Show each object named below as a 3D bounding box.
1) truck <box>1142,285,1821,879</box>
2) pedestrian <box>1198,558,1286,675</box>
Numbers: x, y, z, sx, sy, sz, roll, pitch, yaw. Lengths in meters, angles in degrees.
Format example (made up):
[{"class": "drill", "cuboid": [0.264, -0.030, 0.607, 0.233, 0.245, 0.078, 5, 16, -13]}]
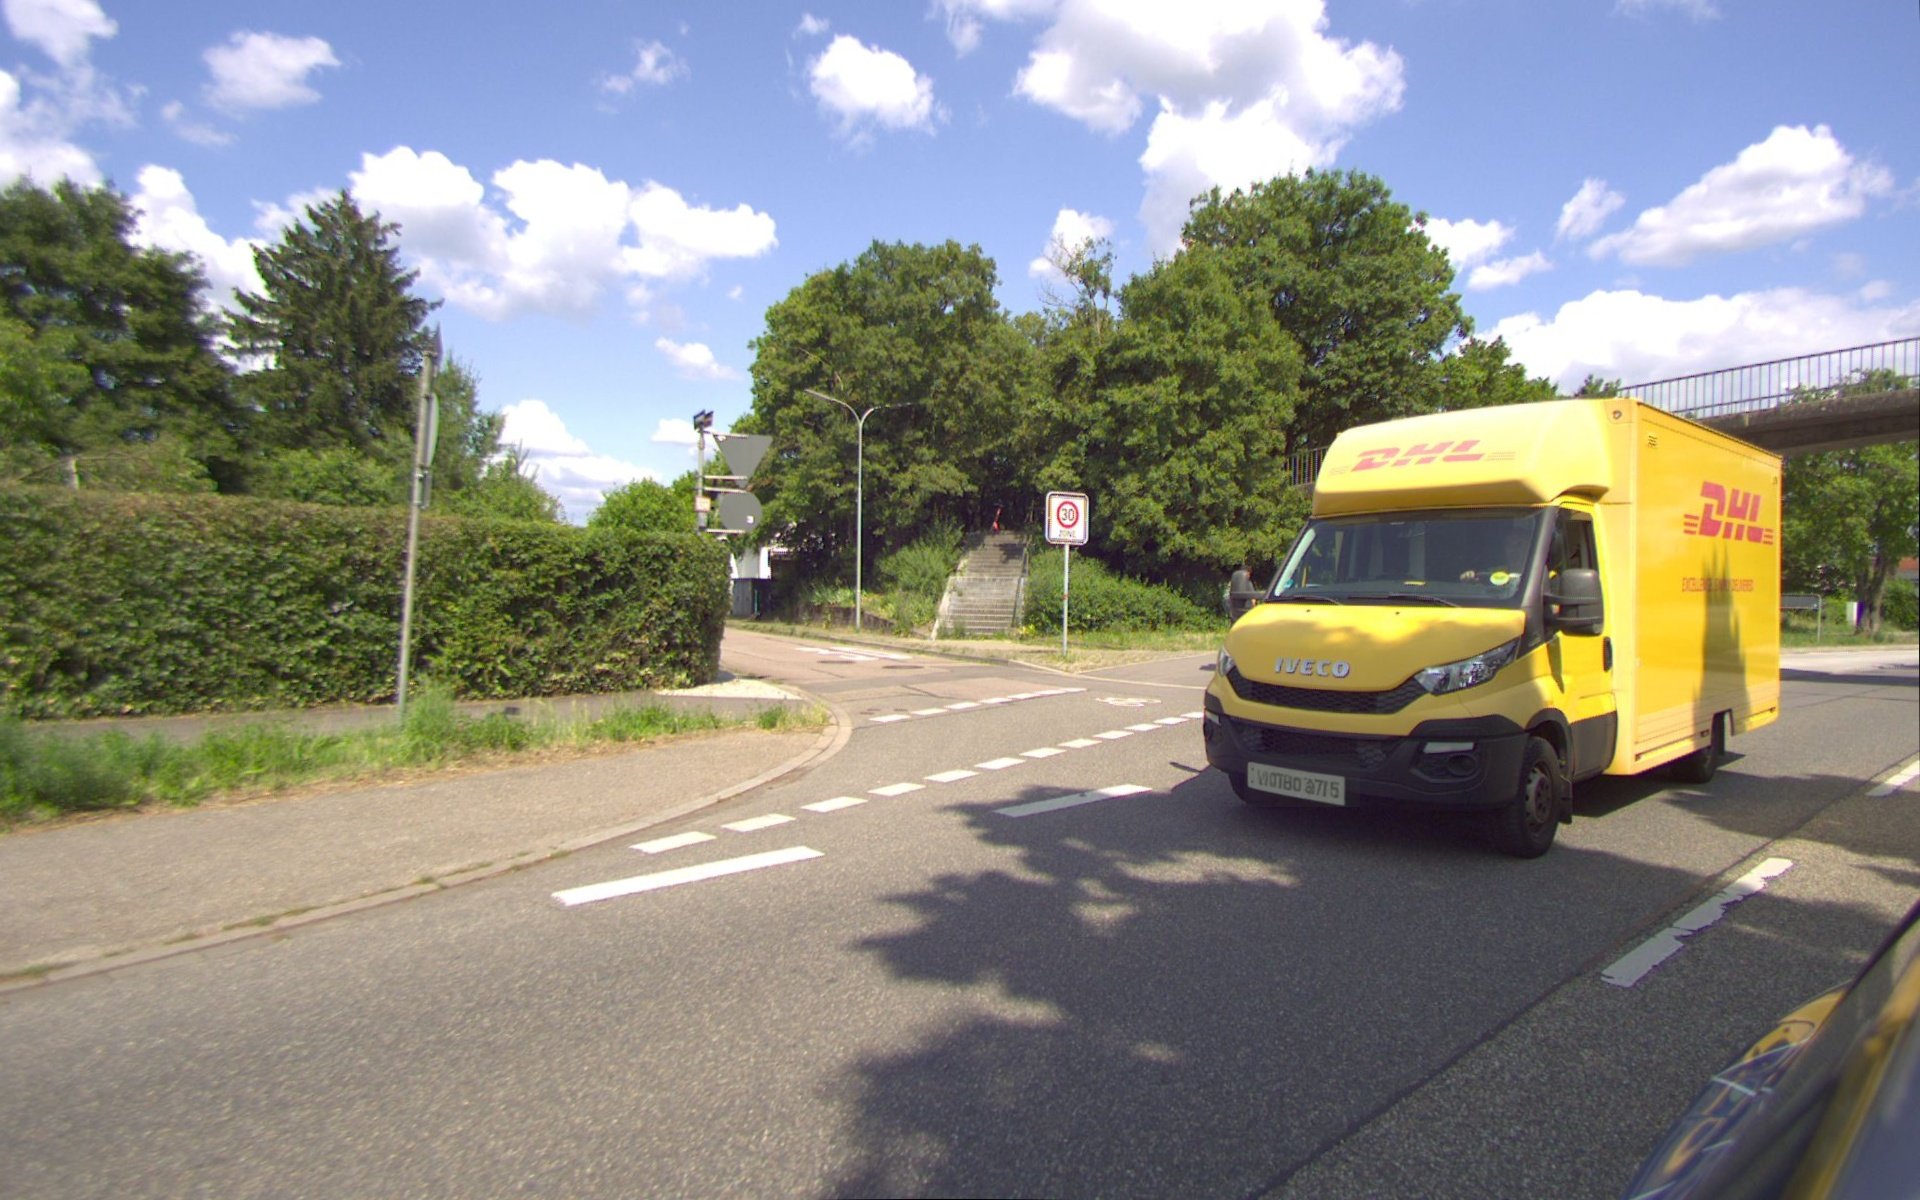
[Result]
[{"class": "truck", "cuboid": [4.910, -0.052, 8.426, 7.886, 2.917, 2.268, 1, -1, -41]}, {"class": "pedestrian", "cuboid": [4.688, 0.237, 16.825, 1.068, 1.846, 0.957, -2, 4, -38]}]
